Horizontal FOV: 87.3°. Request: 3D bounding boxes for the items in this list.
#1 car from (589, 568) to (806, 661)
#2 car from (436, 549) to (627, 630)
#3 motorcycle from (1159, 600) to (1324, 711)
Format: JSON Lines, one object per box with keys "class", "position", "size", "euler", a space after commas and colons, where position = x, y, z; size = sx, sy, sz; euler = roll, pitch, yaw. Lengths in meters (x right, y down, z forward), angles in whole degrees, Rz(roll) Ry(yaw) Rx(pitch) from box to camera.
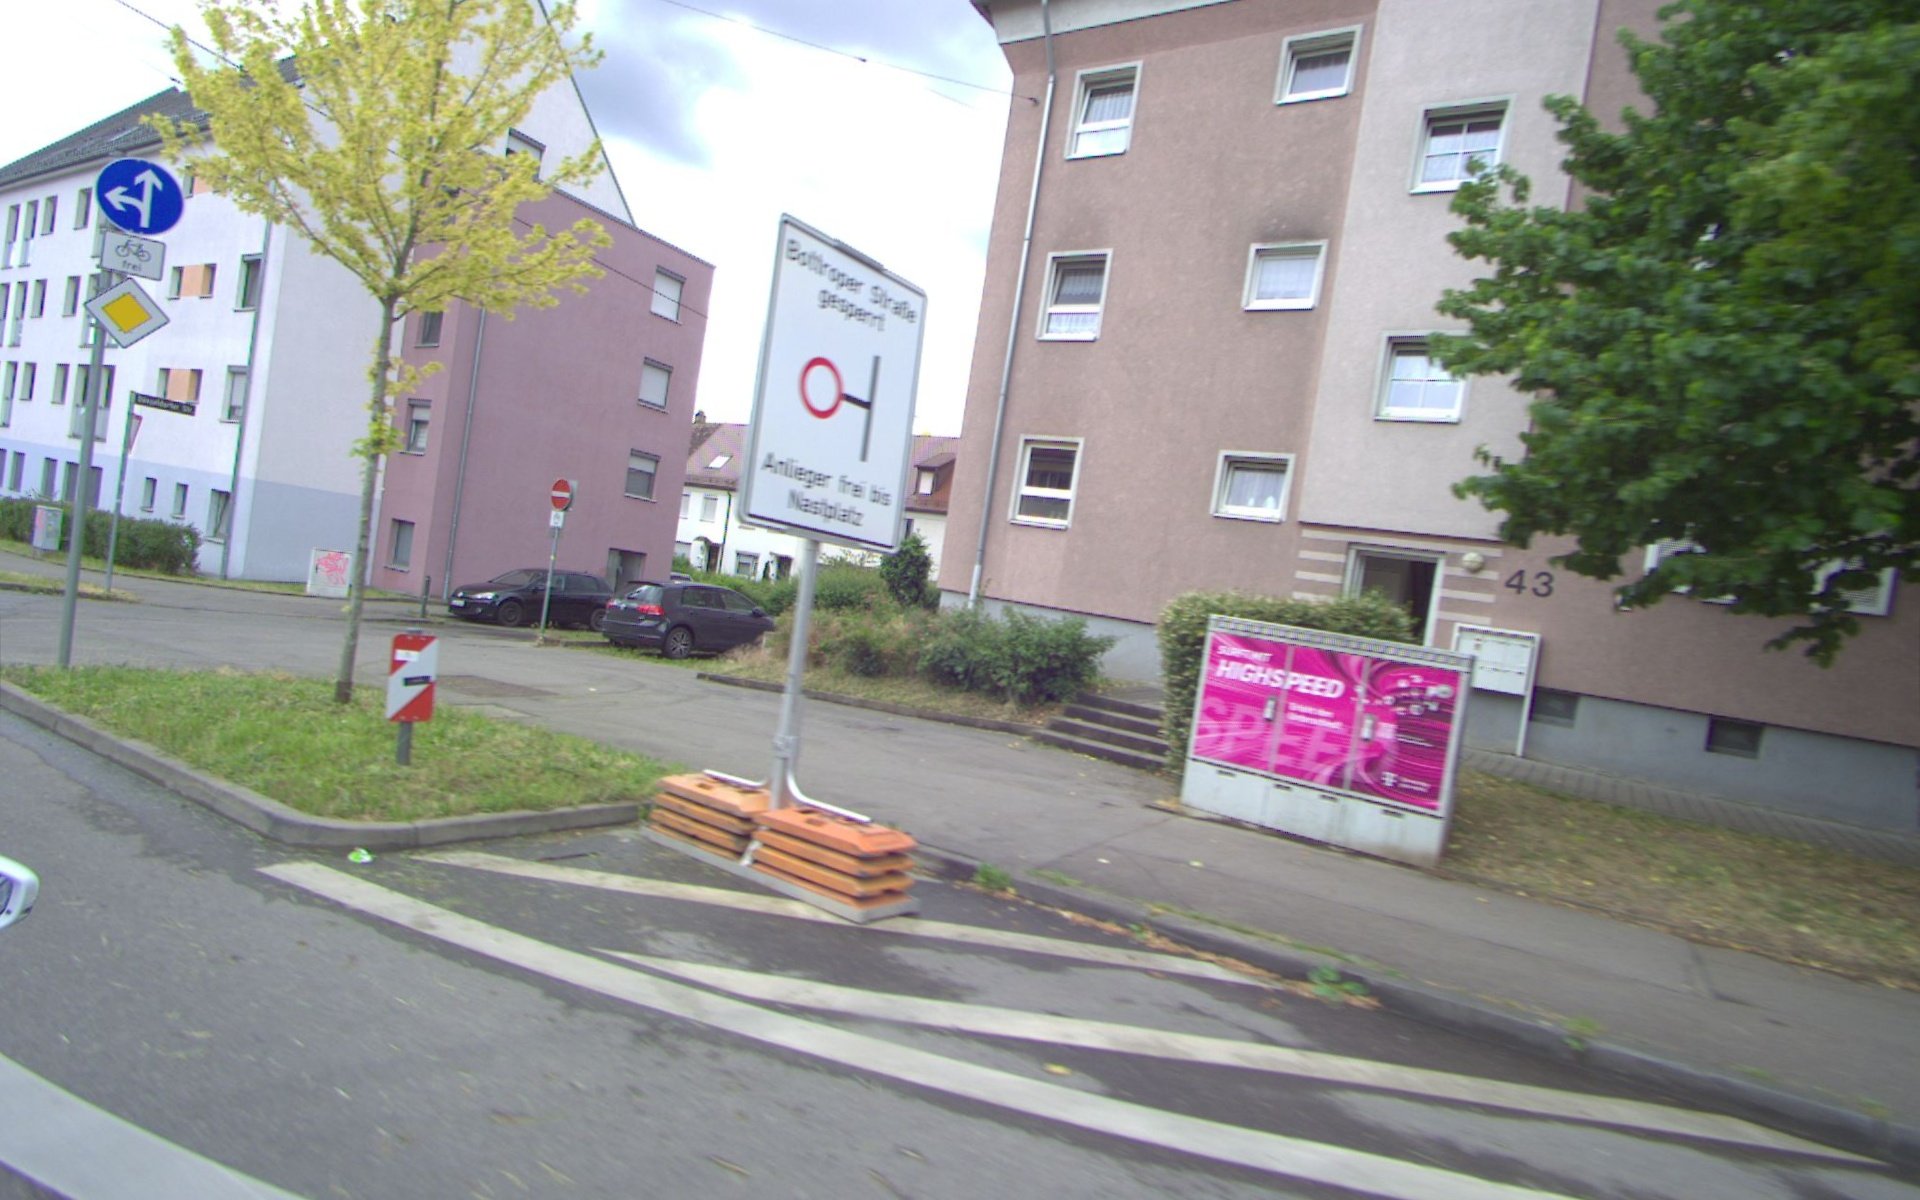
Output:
{"class": "car", "position": [-5.028, 0.342, 19.790], "size": [1.661, 1.470, 3.991], "euler": [5, -2, 32]}
{"class": "car", "position": [-10.579, -0.207, 25.094], "size": [1.732, 1.473, 3.991], "euler": [7, -1, 34]}
{"class": "motorcycle", "position": [3.777, 0.736, 13.582], "size": [1.935, 1.242, 0.591], "euler": [7, 0, 32]}
